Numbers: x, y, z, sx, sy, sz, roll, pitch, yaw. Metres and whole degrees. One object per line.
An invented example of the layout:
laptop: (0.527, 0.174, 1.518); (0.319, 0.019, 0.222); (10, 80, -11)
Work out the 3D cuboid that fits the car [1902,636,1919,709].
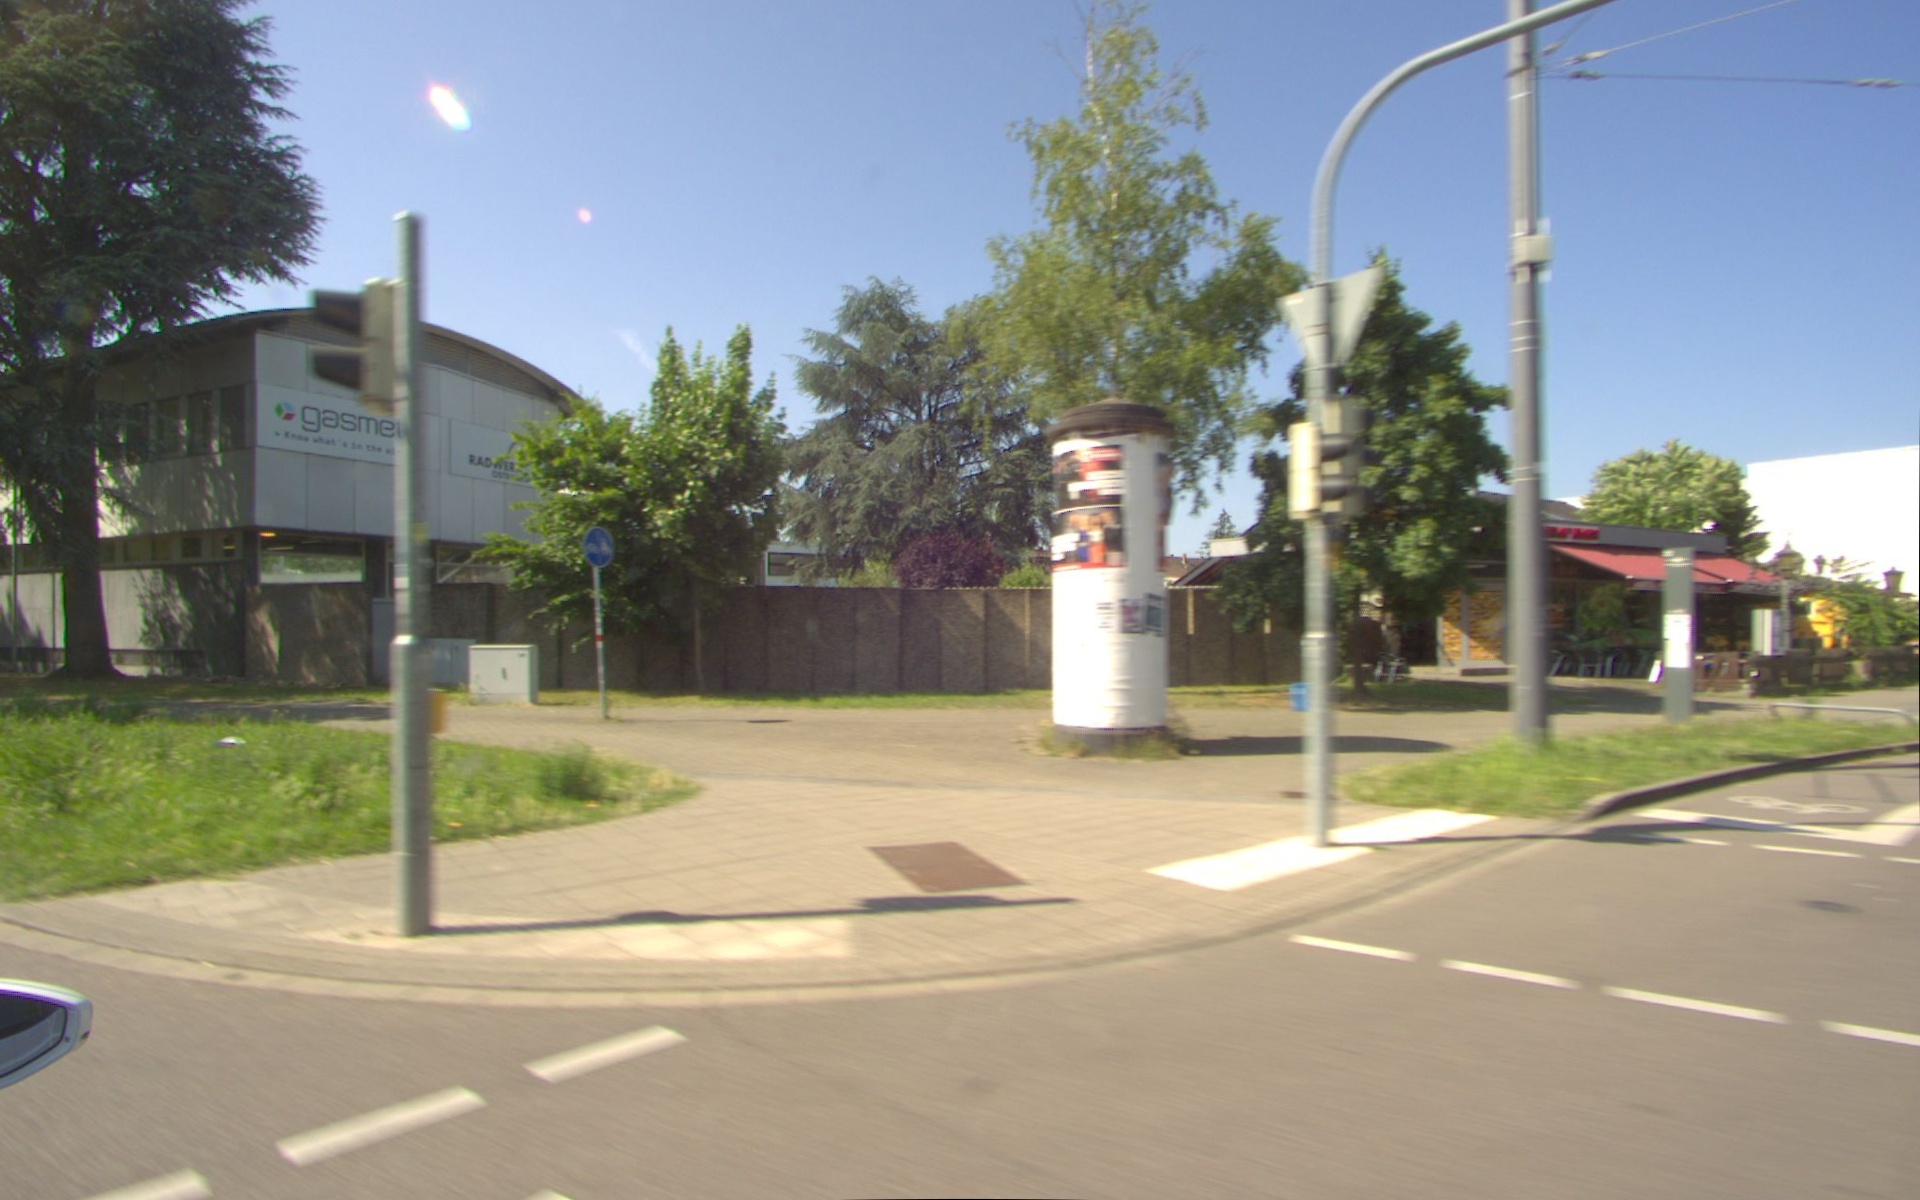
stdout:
car: (22.253, 1.429, 19.756); (2.118, 1.517, 5.082); (1, -3, -38)
